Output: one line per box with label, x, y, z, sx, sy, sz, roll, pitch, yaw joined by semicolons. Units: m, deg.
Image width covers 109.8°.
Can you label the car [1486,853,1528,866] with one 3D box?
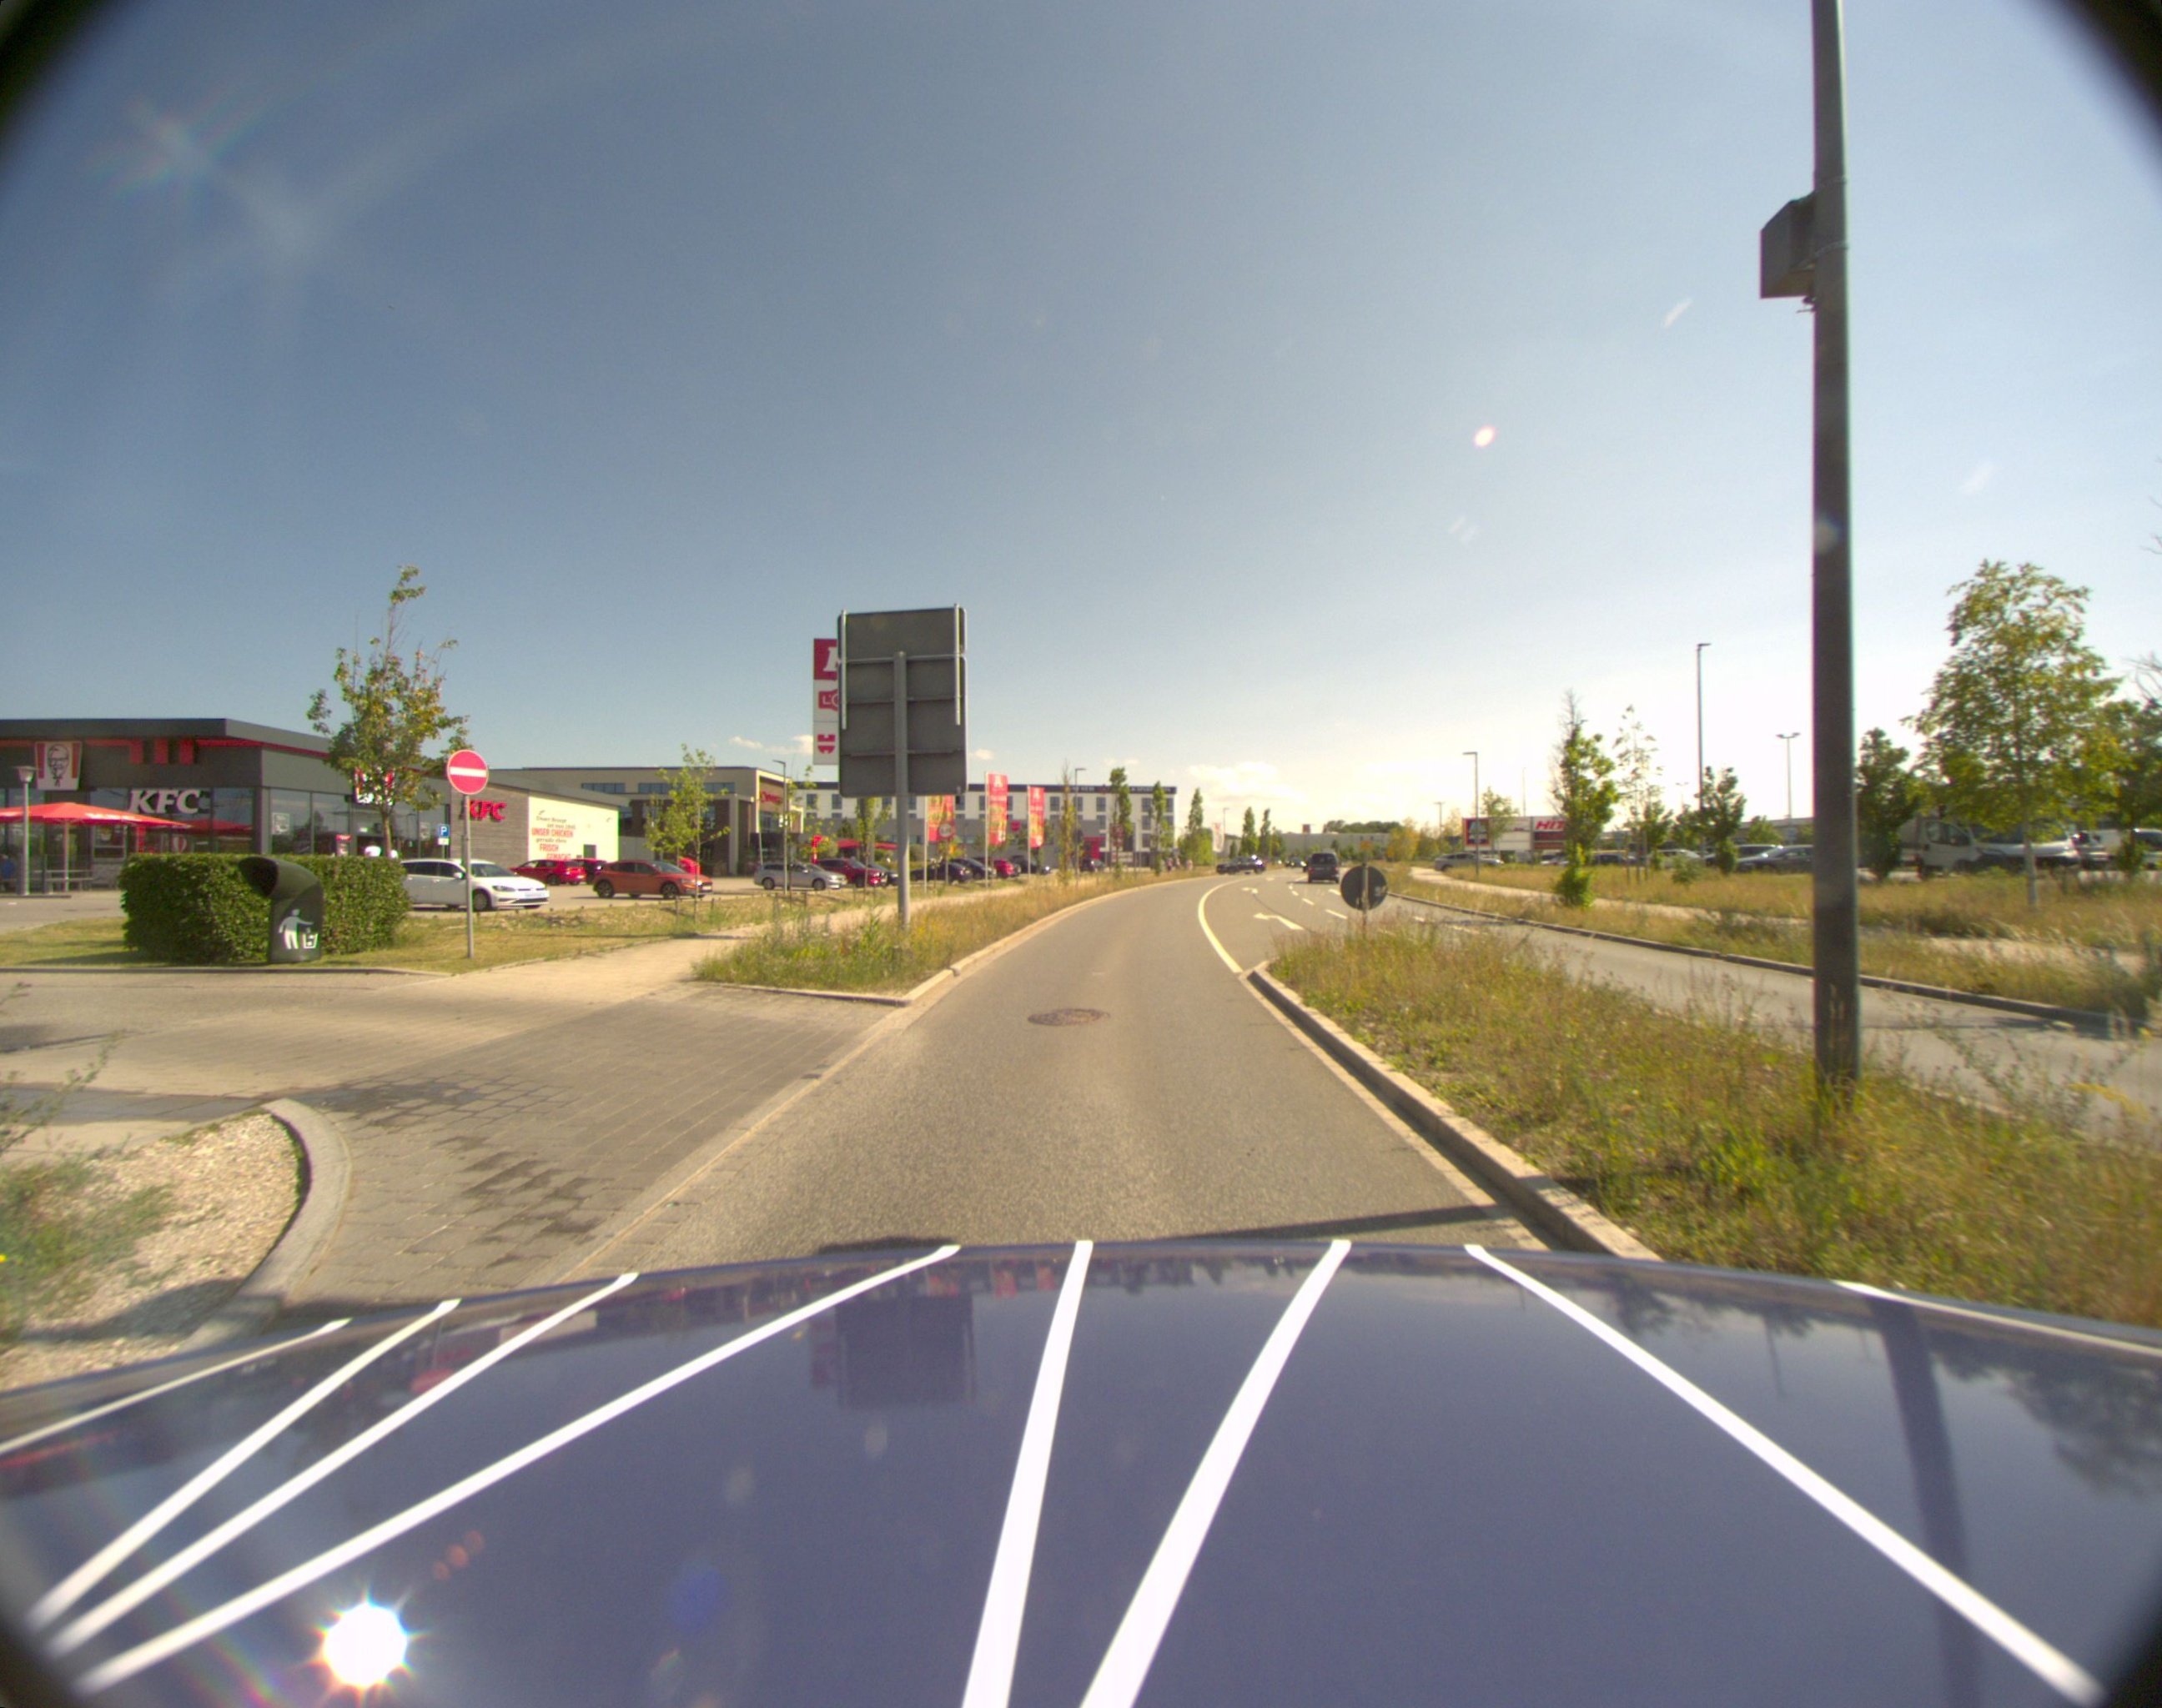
car;57.411;0.780;102.485;4.596;1.662;2.002;0;0;14

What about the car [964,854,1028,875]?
car;-7.146;0.869;63.808;4.987;1.724;1.942;0;0;17

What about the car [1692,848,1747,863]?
car;61.241;0.181;72.972;1.716;1.408;4.355;0;0;1

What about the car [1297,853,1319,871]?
car;21.866;0.798;73.086;1.754;1.677;4.388;0;0;21

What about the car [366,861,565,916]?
car;-17.627;0.943;21.857;4.534;1.481;1.870;0;0;8

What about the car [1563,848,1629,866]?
car;57.157;0.336;84.433;5.689;1.953;2.002;0;0;14

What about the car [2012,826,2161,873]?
car;46.809;-0.181;35.298;1.836;2.052;4.383;-1;0;3

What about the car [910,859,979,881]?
car;-9.504;1.120;53.016;4.411;1.440;1.794;0;0;18

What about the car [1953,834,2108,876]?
car;43.931;0.033;35.340;1.836;1.813;4.383;-1;0;3

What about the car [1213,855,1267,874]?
car;14.344;0.937;68.460;4.472;1.669;1.899;0;-2;-24

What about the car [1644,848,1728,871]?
car;41.974;0.397;52.796;1.921;1.538;4.215;-1;0;-35

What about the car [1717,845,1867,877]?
car;31.325;0.317;33.625;4.429;1.375;1.978;-1;0;17

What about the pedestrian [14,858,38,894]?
pedestrian;-36.032;0.740;25.944;0.380;1.233;0.292;0;1;0

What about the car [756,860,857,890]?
car;-14.022;1.047;38.913;4.562;1.481;1.871;0;0;12

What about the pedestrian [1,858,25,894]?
pedestrian;-36.027;0.739;25.625;0.380;1.233;0.292;0;1;0

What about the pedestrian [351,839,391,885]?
pedestrian;-31.578;0.368;33.819;0.915;2.002;0.891;0;0;5

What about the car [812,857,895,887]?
car;-12.981;1.001;43.473;4.159;1.655;1.871;0;0;16

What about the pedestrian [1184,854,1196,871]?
pedestrian;9.521;0.729;66.341;0.793;1.461;0.950;-1;0;22

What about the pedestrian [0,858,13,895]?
pedestrian;-36.013;0.737;25.319;0.380;1.233;0.292;0;1;0

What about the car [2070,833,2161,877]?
car;49.271;0.042;34.984;1.836;1.986;4.383;-1;0;3

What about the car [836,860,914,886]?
car;-12.391;1.130;45.876;4.161;1.440;1.793;0;0;10

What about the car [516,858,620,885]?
car;-28.687;0.968;42.617;4.566;1.423;1.869;0;0;1

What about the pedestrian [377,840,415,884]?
pedestrian;-31.610;0.376;35.085;0.915;2.002;0.891;0;0;5

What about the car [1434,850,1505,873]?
car;29.963;0.612;58.754;4.765;1.633;2.120;-2;-2;26

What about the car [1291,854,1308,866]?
car;29.025;0.812;100.913;1.783;1.485;4.006;-1;0;23

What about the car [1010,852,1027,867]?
car;-8.236;0.727;99.378;2.049;1.805;4.921;0;0;-7

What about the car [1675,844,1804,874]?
car;33.263;0.275;38.543;4.581;1.450;1.840;-1;0;17

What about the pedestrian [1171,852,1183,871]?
pedestrian;8.318;0.662;65.714;0.801;1.620;0.806;-1;0;22

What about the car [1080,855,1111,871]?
car;1.594;0.919;79.371;1.781;1.531;4.176;0;0;23

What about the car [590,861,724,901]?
car;-16.246;1.005;29.209;4.212;1.481;1.870;0;0;8

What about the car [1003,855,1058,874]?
car;-4.441;0.903;66.988;4.411;1.557;1.998;0;0;17

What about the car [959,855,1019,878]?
car;-7.333;0.978;60.494;4.410;1.724;1.794;0;0;19

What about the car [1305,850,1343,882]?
car;14.192;0.697;44.549;1.953;1.784;4.433;1;0;17

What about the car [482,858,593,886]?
car;-28.752;0.952;40.302;4.566;1.423;1.869;0;0;1

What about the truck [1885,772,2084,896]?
truck;29.046;-0.560;24.830;2.318;3.444;7.509;0;0;35

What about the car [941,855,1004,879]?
car;-8.223;0.980;57.506;4.410;1.724;1.794;0;0;19

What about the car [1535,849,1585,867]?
car;50.760;0.436;80.593;4.148;1.850;1.935;0;0;20

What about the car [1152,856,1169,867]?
car;10.643;1.041;101.885;1.515;1.399;4.005;0;0;16

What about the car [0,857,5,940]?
car;-19.976;0.778;11.406;1.698;1.453;4.178;0;0;44

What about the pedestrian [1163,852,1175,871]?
pedestrian;7.684;0.635;66.426;0.809;1.619;0.867;-1;0;22

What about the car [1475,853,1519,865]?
car;58.836;0.779;107.533;5.189;1.662;2.002;0;0;9
